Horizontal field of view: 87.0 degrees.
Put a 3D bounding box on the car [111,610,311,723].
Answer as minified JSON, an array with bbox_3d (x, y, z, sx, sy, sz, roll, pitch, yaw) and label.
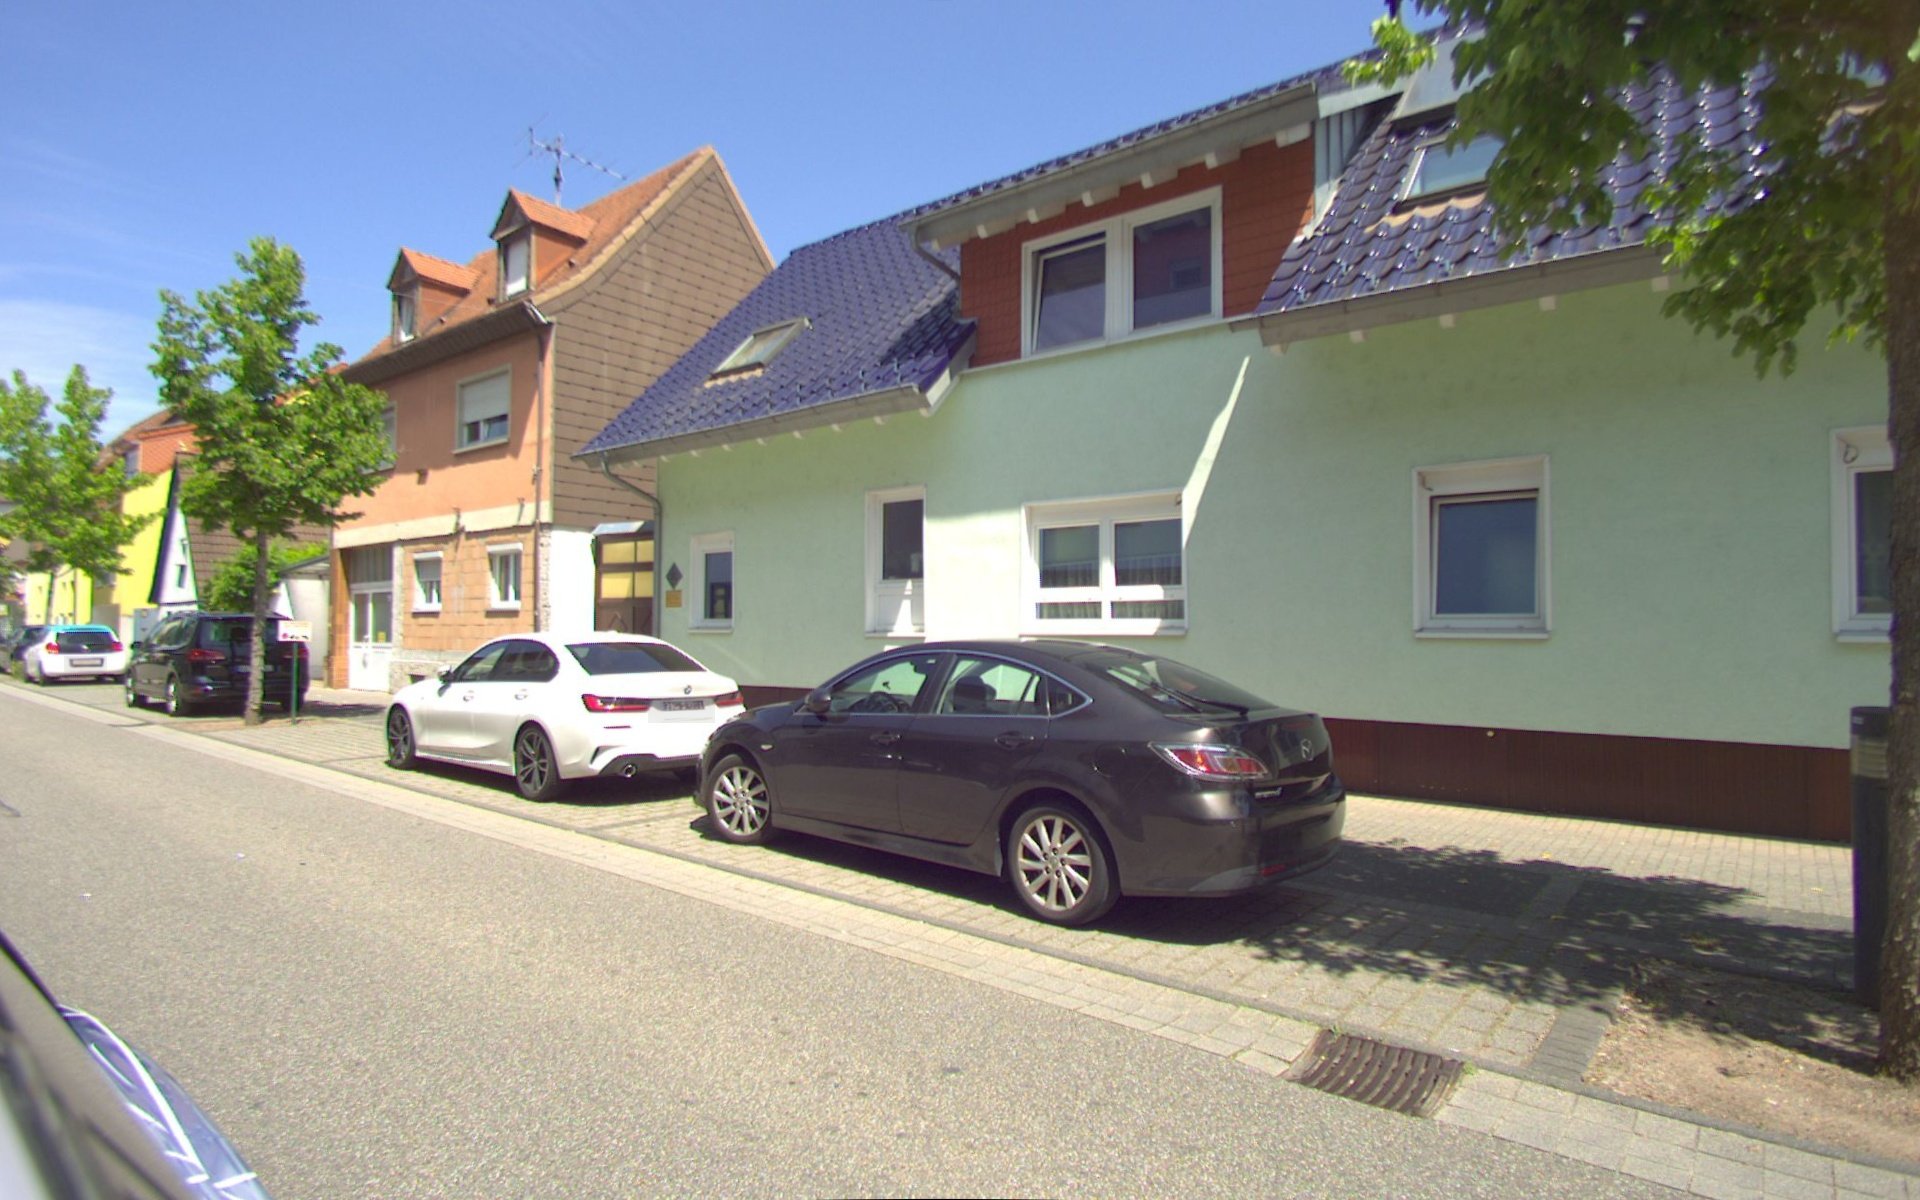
[{"bbox_3d":[-13.243,1.096,17.806,4.515,1.739,1.757,-1,-3,39],"label":"car"}]

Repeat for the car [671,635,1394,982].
[{"bbox_3d":[0.147,0.959,6.442,4.536,1.448,1.643,-1,-2,42],"label":"car"}]

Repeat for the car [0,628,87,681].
[{"bbox_3d":[-26.879,1.546,29.401,4.095,1.441,1.628,-1,-4,40],"label":"car"}]

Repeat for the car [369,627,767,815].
[{"bbox_3d":[-3.997,0.994,9.942,4.455,1.448,1.703,-1,-2,40],"label":"car"}]

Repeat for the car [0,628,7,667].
[{"bbox_3d":[-36.776,1.738,37.485,4.154,1.418,1.639,-1,-3,40],"label":"car"}]

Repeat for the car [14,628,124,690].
[{"bbox_3d":[-22.307,1.429,25.303,3.407,1.441,1.538,-1,-3,40],"label":"car"}]
